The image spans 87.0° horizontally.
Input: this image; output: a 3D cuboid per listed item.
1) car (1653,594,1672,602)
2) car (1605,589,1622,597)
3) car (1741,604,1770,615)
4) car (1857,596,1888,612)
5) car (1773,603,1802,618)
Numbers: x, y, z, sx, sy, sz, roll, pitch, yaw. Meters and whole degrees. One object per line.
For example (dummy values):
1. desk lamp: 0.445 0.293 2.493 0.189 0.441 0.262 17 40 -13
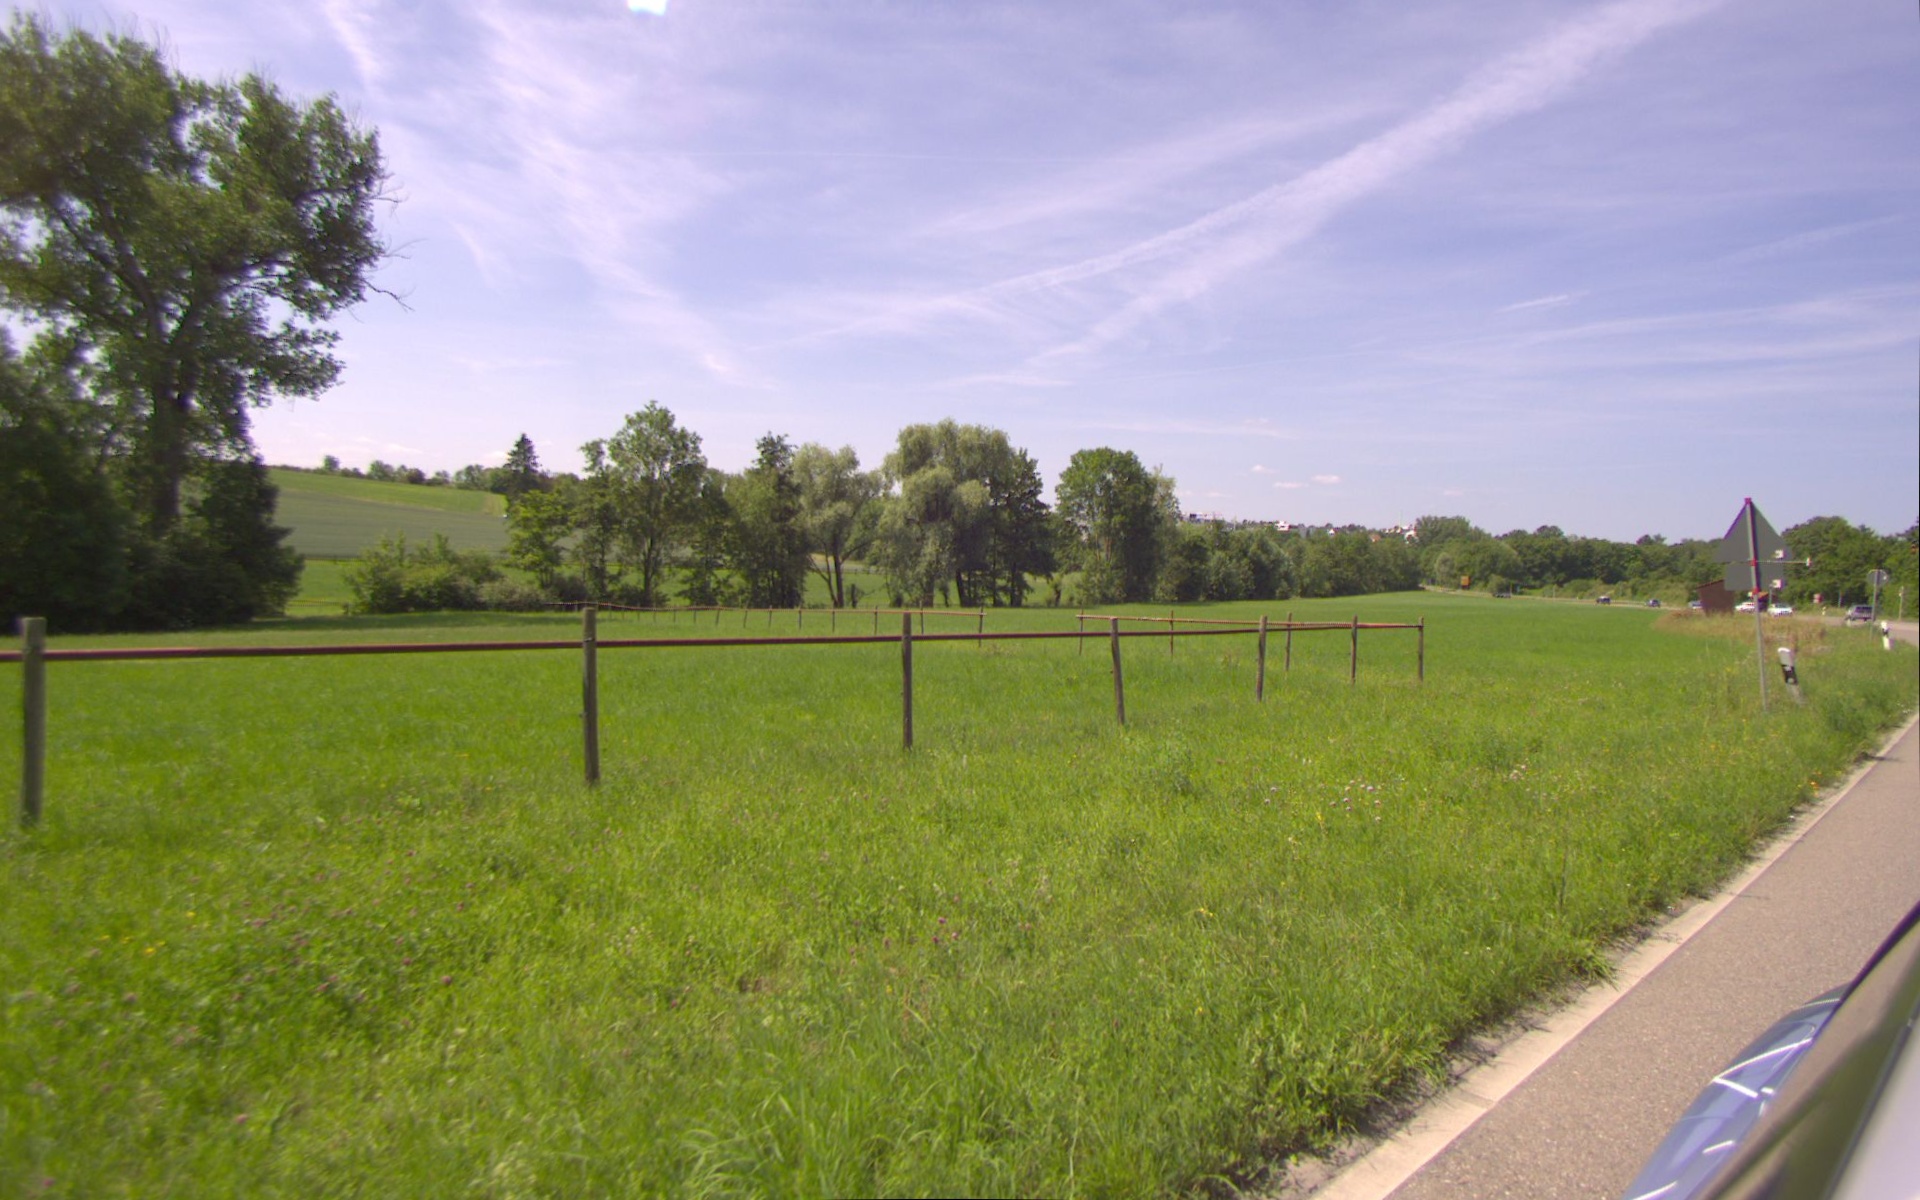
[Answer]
1. car: 128.402 -0.414 184.950 1.689 1.501 3.811 0 0 17
2. car: 135.475 -1.466 209.807 1.954 1.582 4.166 0 0 17
3. car: 111.380 1.339 141.695 1.920 1.568 4.594 1 0 21
4. car: 90.424 0.410 100.334 1.749 1.554 4.175 1 1 35
5. car: 95.495 1.201 116.843 1.983 1.605 3.957 1 0 30
